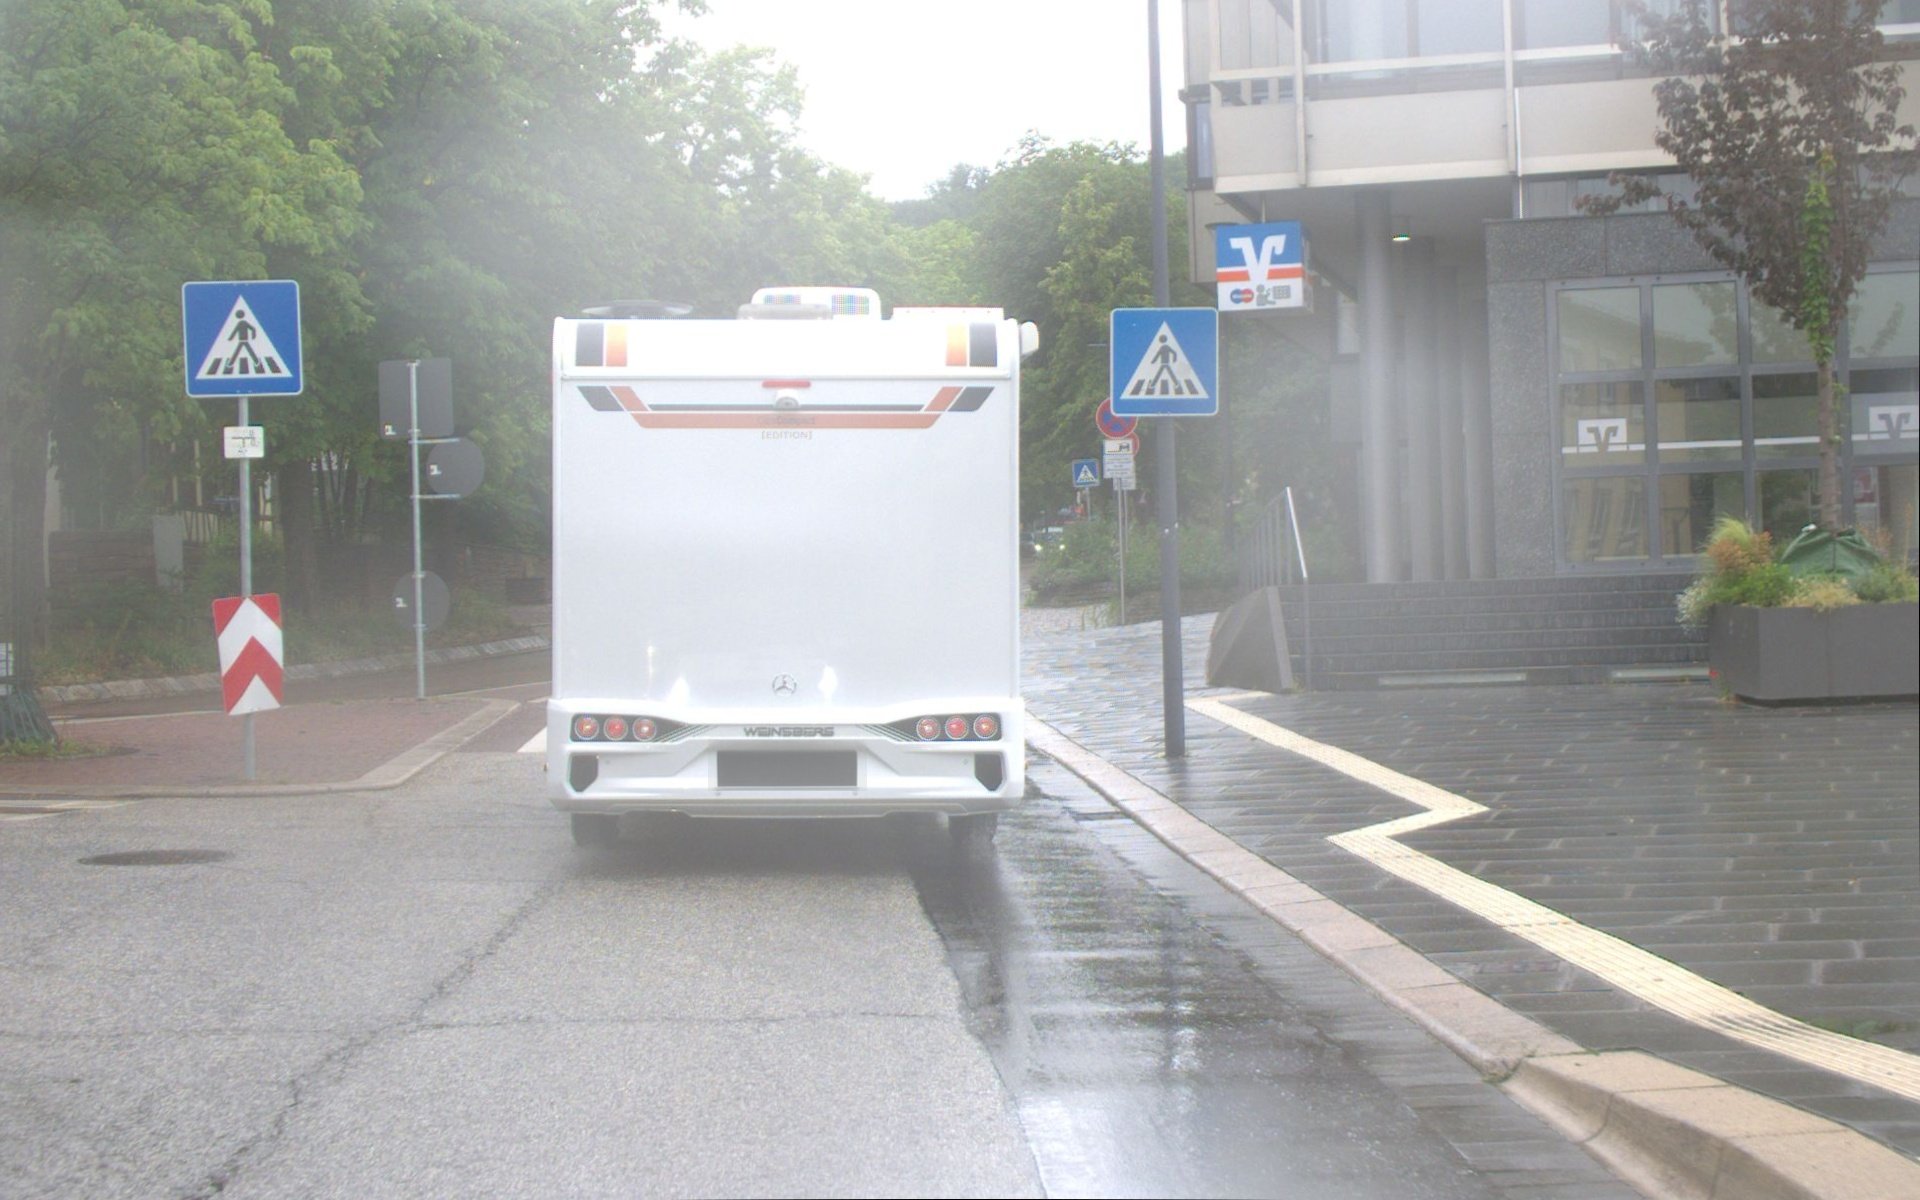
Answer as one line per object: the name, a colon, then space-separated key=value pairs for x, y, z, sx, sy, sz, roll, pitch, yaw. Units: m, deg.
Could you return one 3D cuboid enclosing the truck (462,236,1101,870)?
truck: x=-0.934 y=-0.202 z=18.844 sx=2.805 sy=2.787 sz=6.107 roll=-3 pitch=0 yaw=-2
